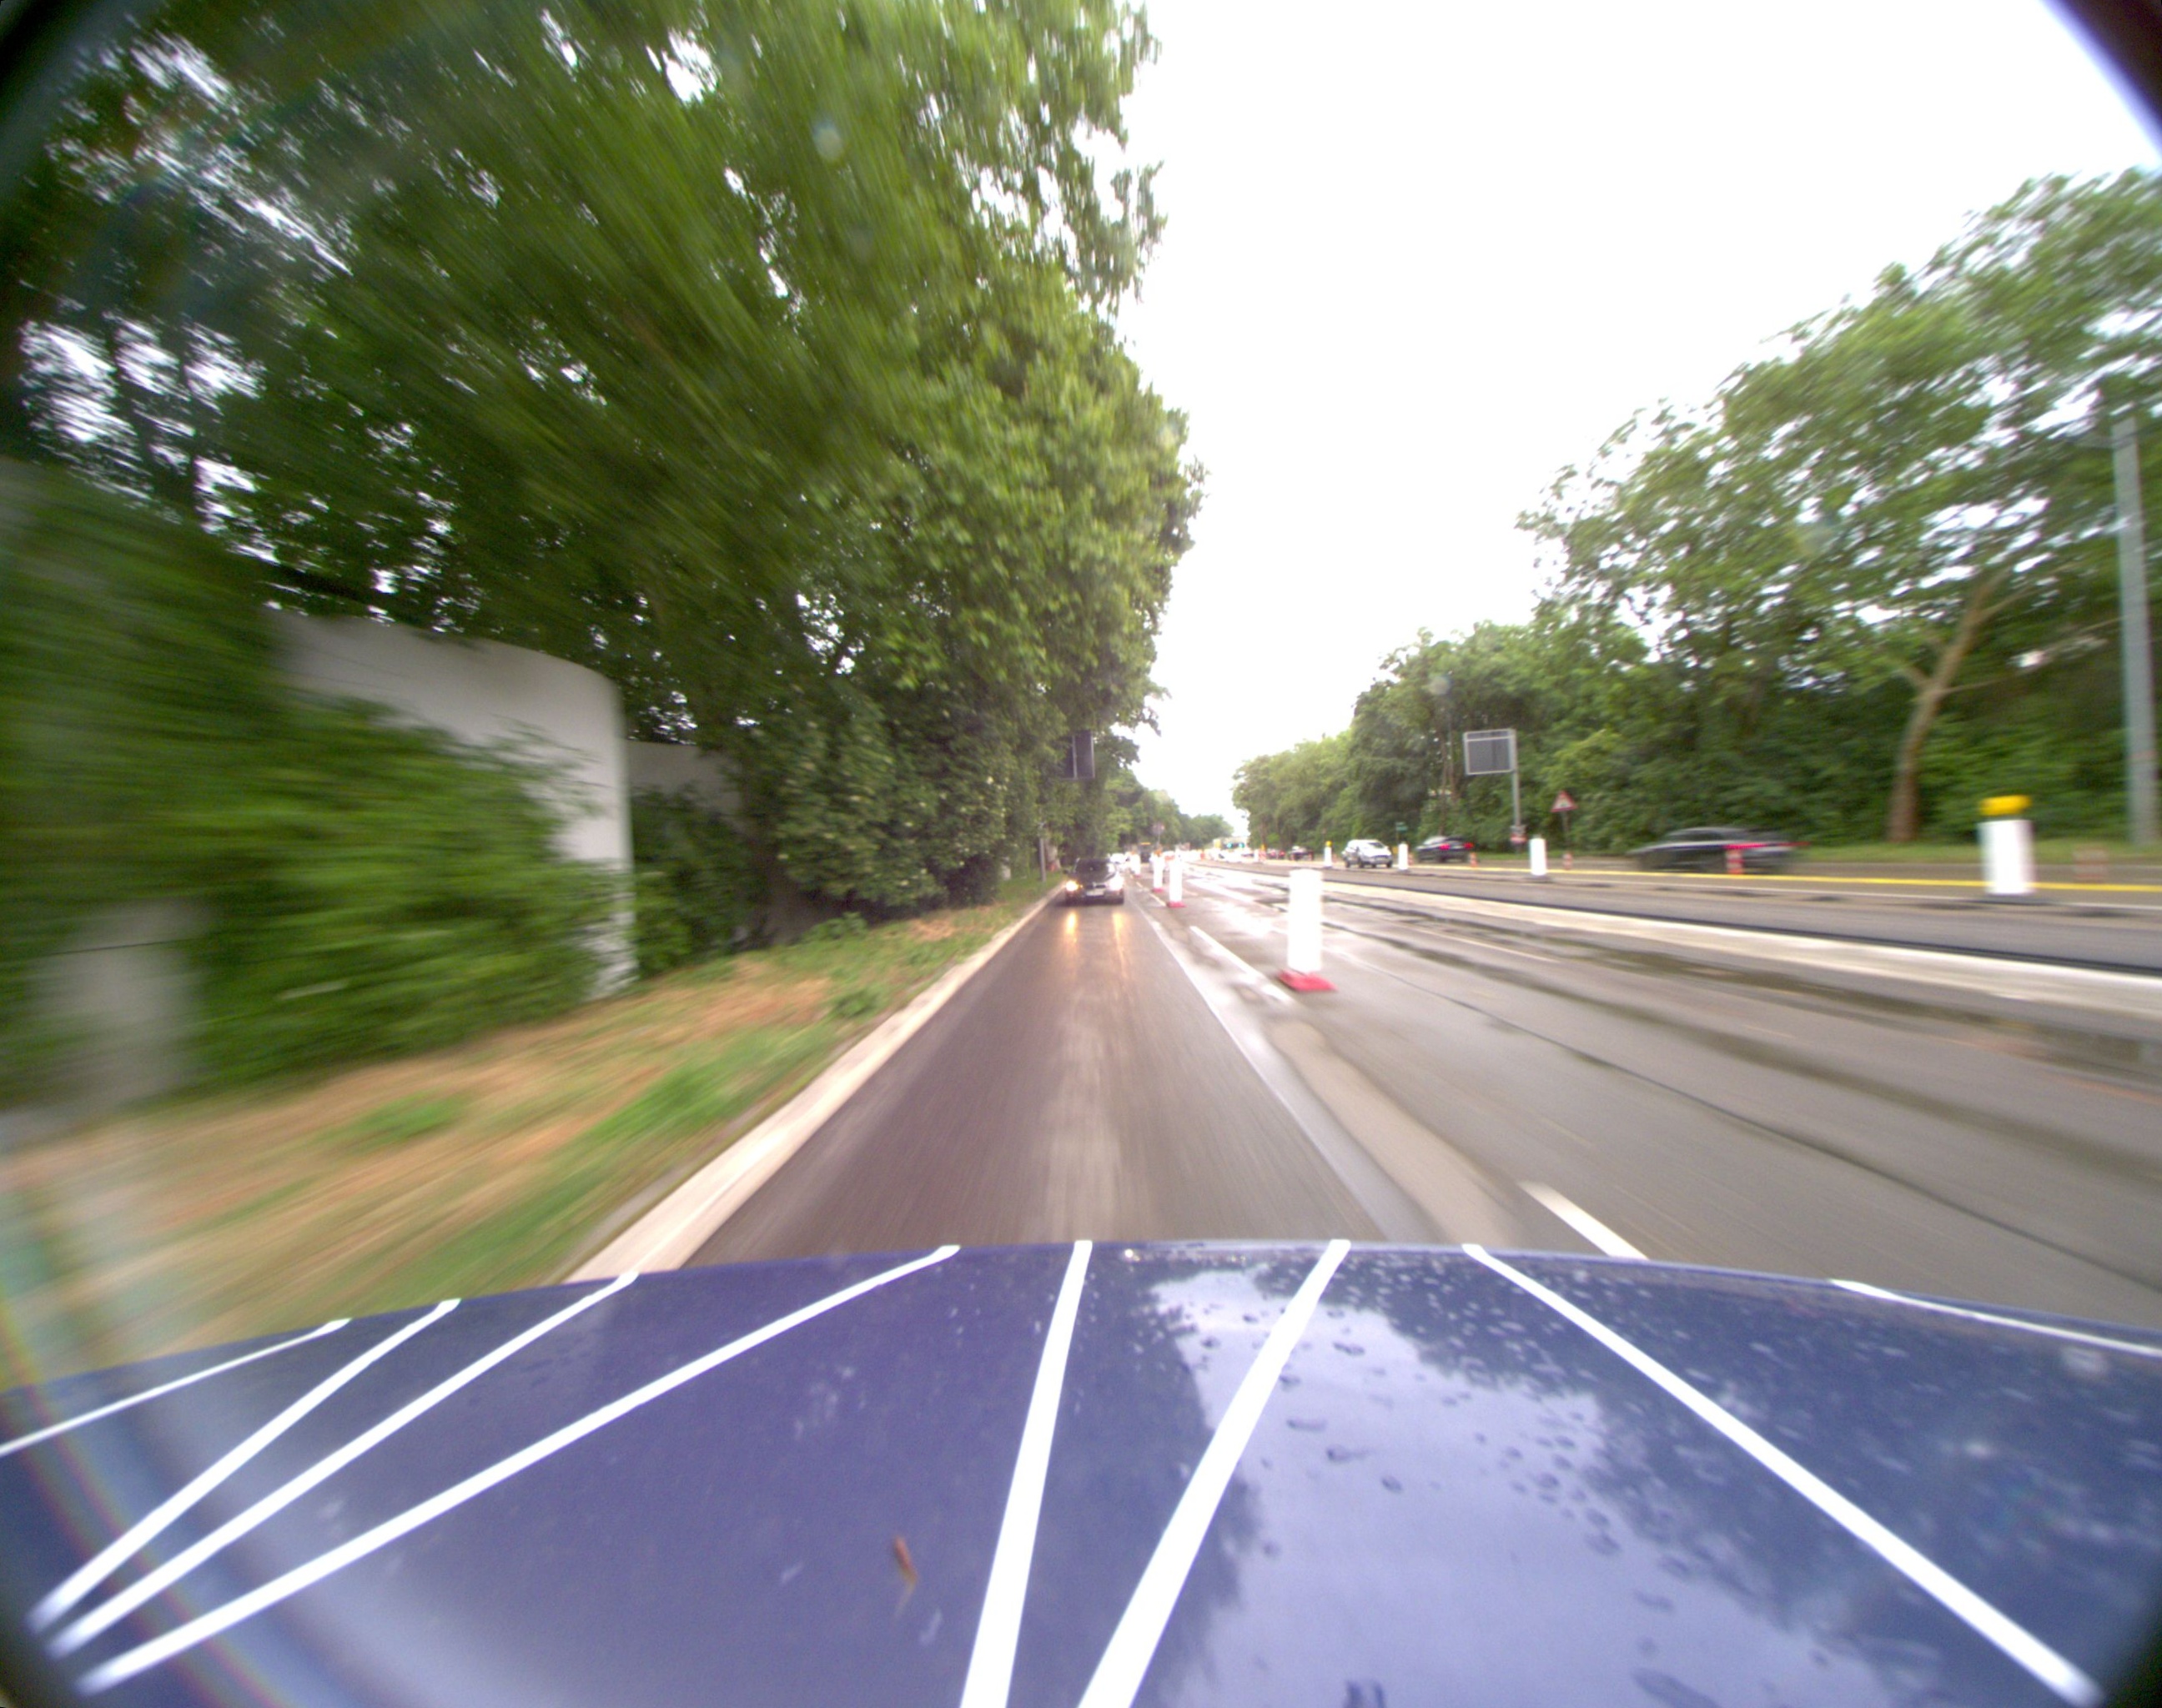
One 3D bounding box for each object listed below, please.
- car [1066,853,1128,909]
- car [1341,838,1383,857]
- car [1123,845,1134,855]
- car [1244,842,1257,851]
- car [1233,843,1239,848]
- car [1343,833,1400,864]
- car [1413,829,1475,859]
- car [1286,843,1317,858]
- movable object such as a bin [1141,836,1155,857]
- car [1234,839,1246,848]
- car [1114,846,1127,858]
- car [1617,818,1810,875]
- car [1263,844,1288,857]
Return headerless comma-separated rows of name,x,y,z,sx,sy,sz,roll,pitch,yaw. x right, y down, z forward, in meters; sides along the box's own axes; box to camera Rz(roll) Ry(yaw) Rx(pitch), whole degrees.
car,0.469,0.769,23.323,1.701,1.477,3.999,-2,1,1
car,23.486,-0.511,63.633,1.822,1.411,4.603,-3,0,1
car,8.669,-0.678,138.169,1.707,1.681,4.473,-1,1,6
car,31.206,-1.367,139.780,1.670,1.532,4.158,0,0,3
car,48.441,-2.652,237.600,1.787,1.418,4.473,-2,0,14
car,16.363,-0.300,42.999,1.794,1.575,3.861,-3,0,2
car,22.314,-0.588,46.901,1.657,1.675,4.533,-3,0,1
car,21.291,-0.306,73.539,1.822,1.347,4.205,-1,0,1
movable object such as a bin,9.935,-1.085,112.828,1.807,2.968,5.247,-2,1,7
car,34.960,-2.280,166.873,1.781,1.741,4.381,-2,0,2
car,5.539,-0.309,106.293,1.707,1.681,4.472,-1,1,4
car,18.832,-0.216,23.002,1.764,1.475,4.900,-3,0,1
car,22.418,-0.396,87.642,1.822,1.347,4.390,-1,0,1
